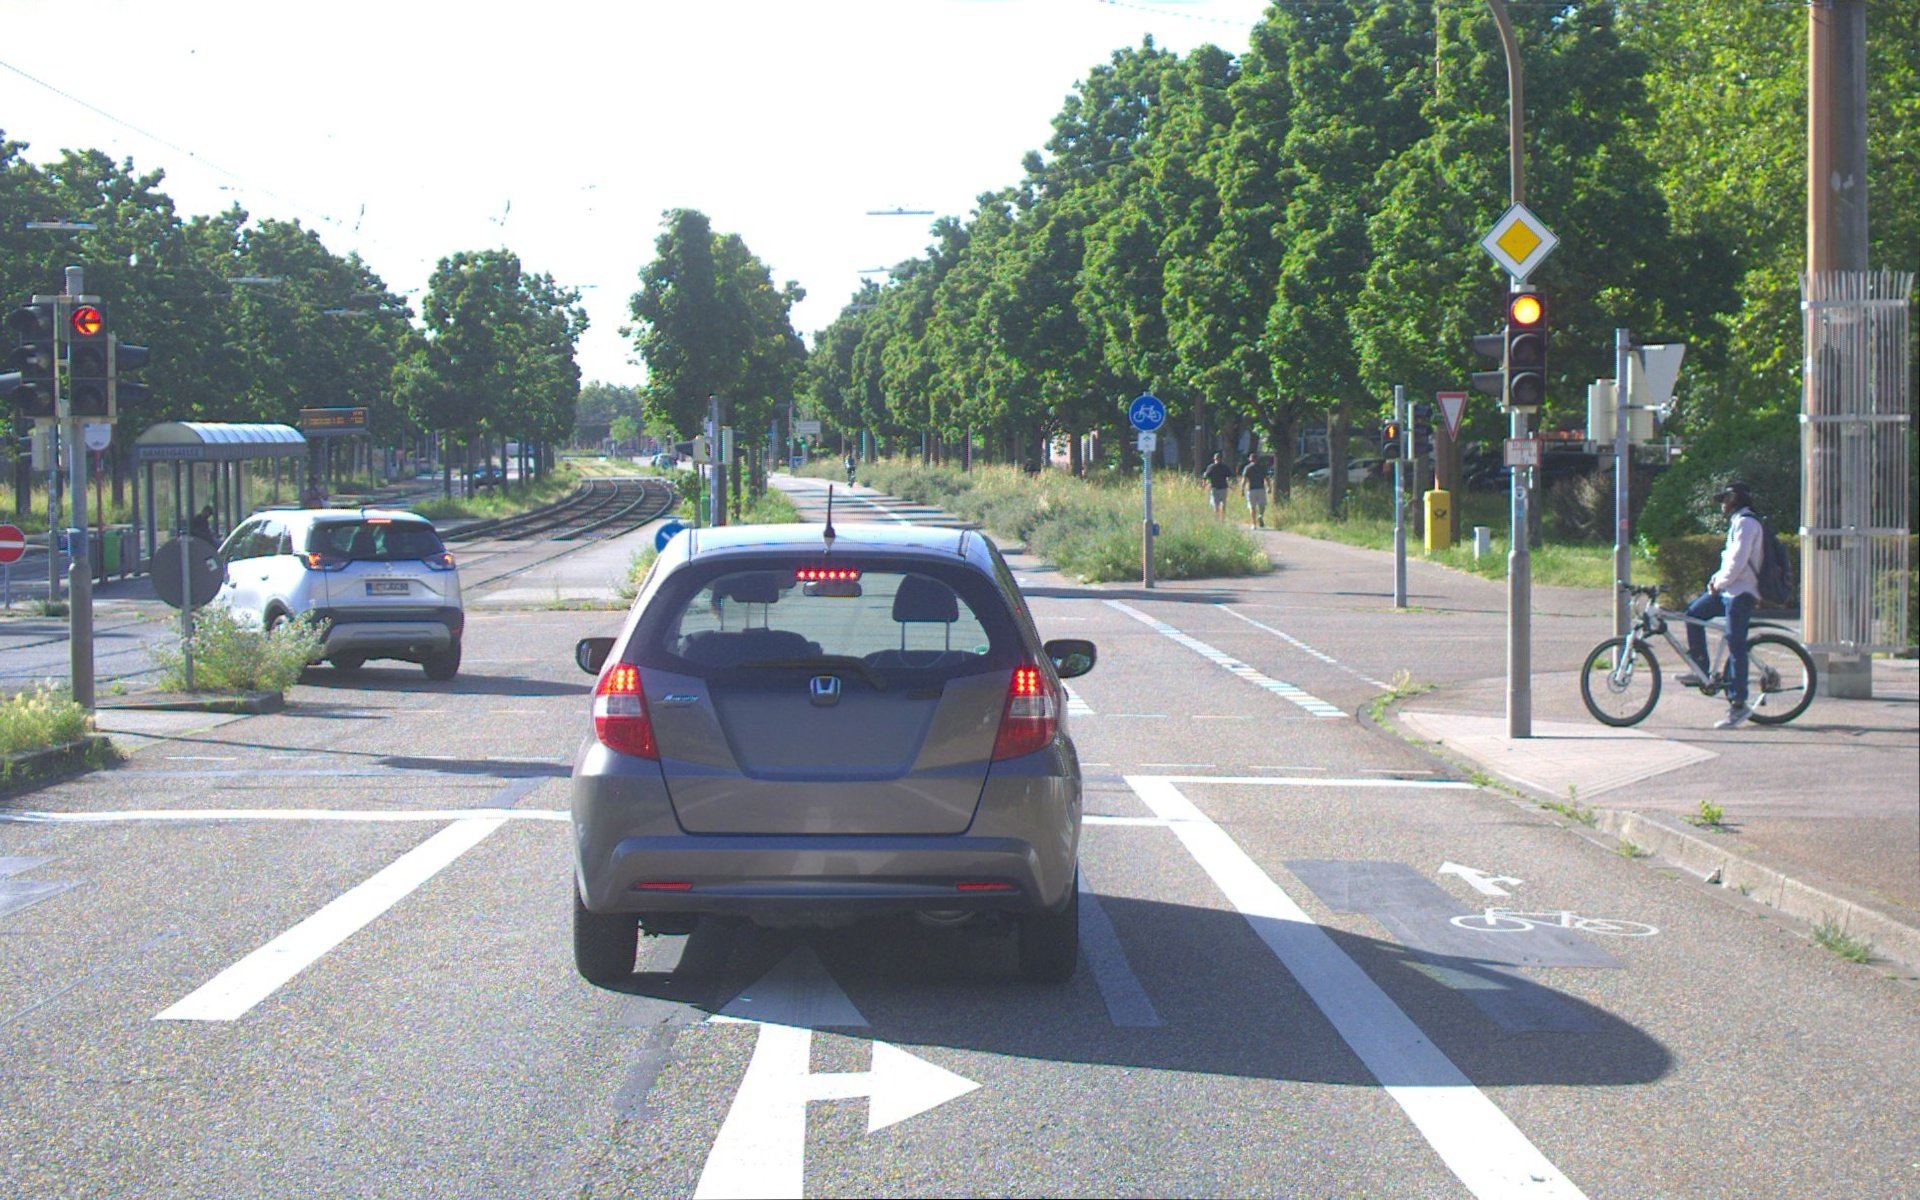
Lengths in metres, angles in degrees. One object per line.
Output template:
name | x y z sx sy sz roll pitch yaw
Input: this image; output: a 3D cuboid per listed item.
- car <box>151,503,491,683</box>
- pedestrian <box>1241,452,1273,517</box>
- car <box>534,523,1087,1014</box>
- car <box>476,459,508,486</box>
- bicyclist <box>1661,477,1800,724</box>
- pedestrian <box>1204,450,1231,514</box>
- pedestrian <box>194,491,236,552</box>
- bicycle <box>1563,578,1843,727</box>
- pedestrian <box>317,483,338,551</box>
car | -6.196 -0.120 32.990 1.851 1.601 4.255 -1 2 -31
pedestrian | 7.460 -2.900 86.268 0.678 1.604 0.721 1 1 -3
car | -0.460 0.479 12.693 1.707 1.503 4.000 1 1 0
car | -31.239 -8.491 229.669 1.766 1.732 4.001 0 1 -3
bicyclist | 5.561 0.002 24.854 0.910 1.739 0.764 -1 1 11
pedestrian | 6.463 -2.960 86.230 0.567 1.591 0.666 1 1 -4
pedestrian | -15.422 -1.628 71.158 0.721 1.241 0.711 -1 2 -2
bicycle | 5.362 0.375 24.901 1.921 0.994 0.764 -2 1 11
pedestrian | -15.774 -2.073 85.765 0.502 1.670 0.388 0 2 -12
